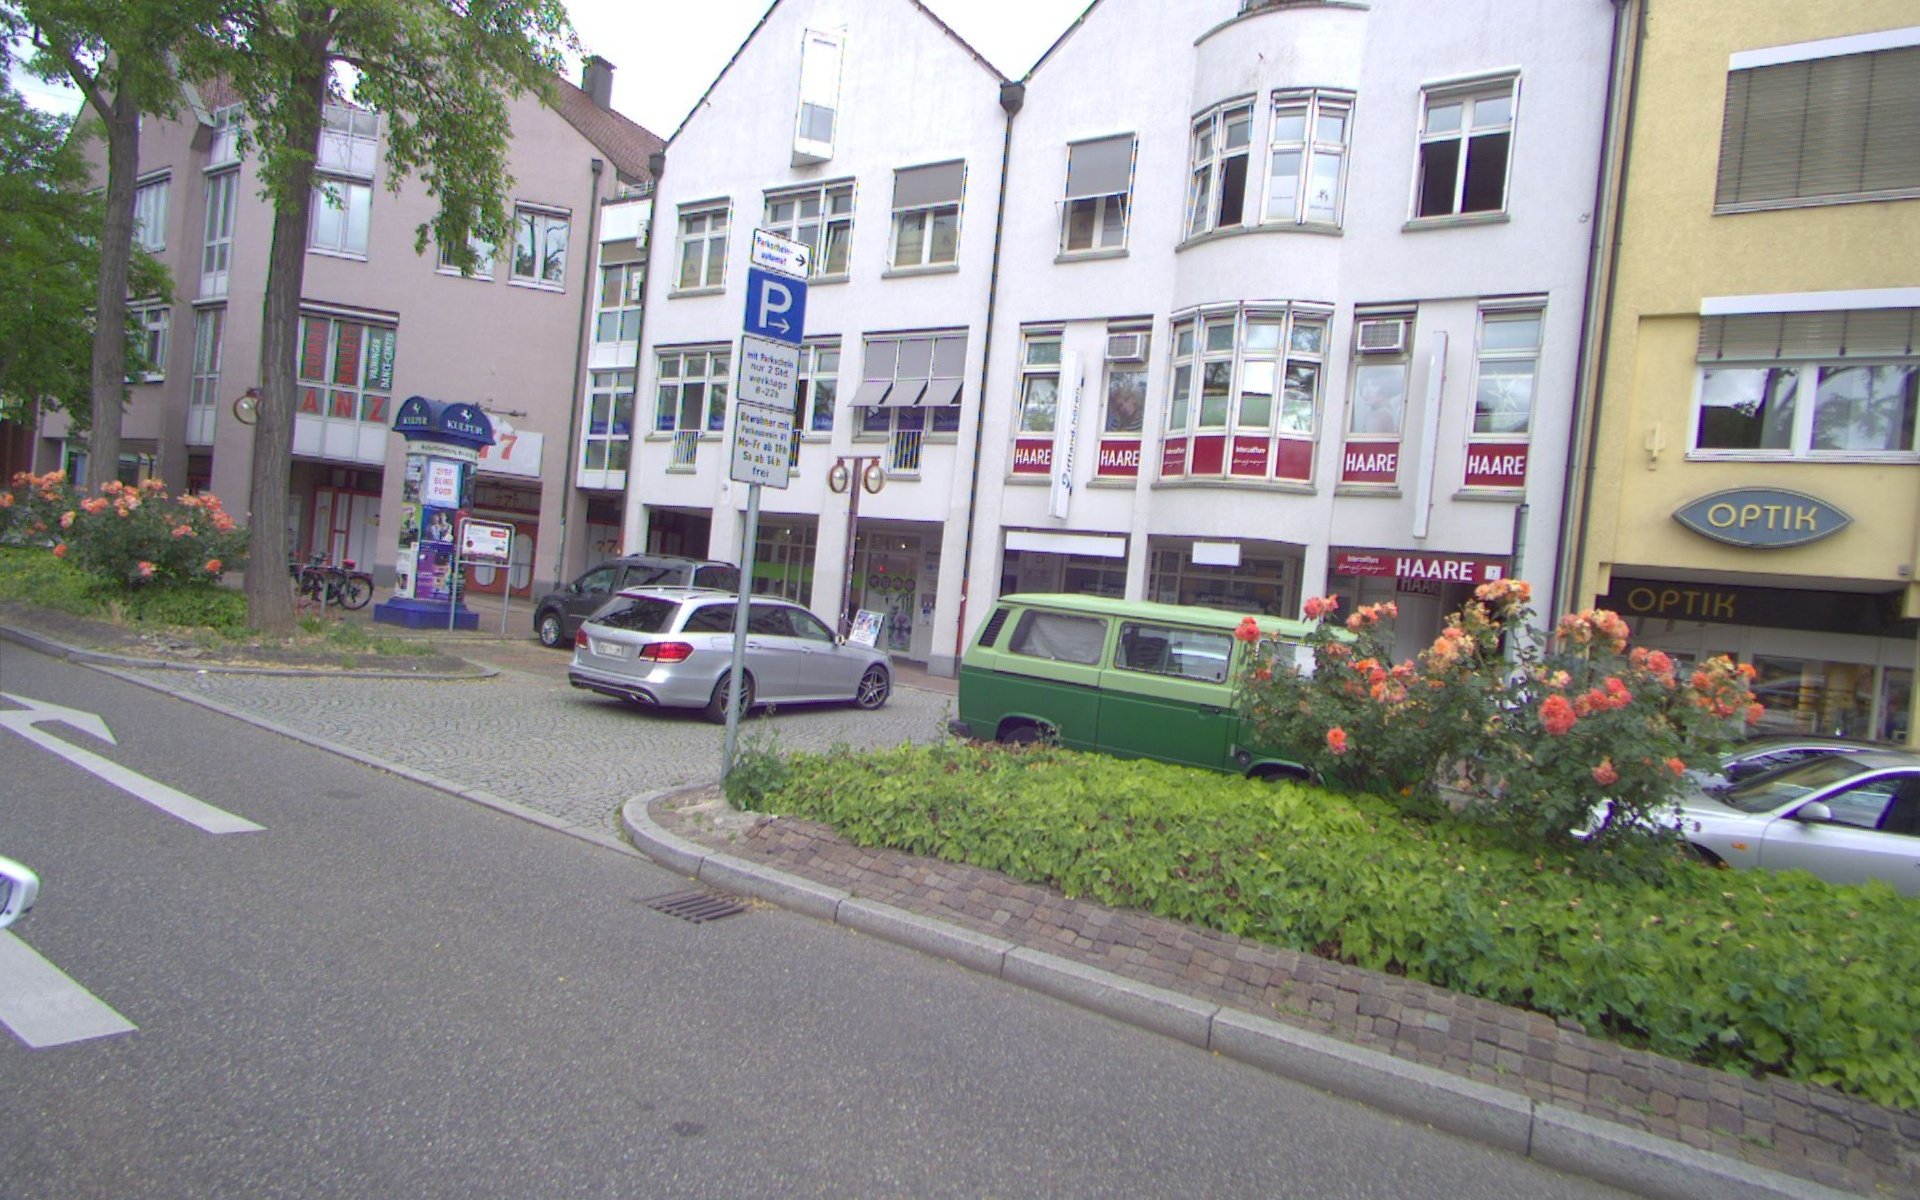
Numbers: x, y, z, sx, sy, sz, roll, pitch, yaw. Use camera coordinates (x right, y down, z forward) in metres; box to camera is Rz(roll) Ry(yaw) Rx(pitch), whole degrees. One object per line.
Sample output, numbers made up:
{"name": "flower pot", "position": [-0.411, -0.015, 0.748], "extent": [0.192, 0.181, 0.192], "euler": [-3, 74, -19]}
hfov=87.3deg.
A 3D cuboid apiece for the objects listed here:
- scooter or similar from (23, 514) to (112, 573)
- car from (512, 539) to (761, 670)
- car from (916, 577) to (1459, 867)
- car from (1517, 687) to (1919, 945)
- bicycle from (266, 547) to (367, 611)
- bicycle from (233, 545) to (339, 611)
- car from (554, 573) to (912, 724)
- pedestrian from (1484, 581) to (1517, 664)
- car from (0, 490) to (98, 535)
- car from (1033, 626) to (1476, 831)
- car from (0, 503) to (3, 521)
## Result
{"name": "scooter or similar", "position": [-19.824, -1.252, 22.347], "extent": [1.852, 1.101, 0.471], "euler": [6, 1, 14]}
{"name": "car", "position": [-5.832, 0.054, 18.018], "extent": [4.188, 1.827, 1.736], "euler": [7, 1, 29]}
{"name": "car", "position": [2.148, 0.971, 9.860], "extent": [4.672, 1.900, 1.996], "euler": [6, 1, 29]}
{"name": "car", "position": [6.767, 1.622, 7.284], "extent": [4.673, 1.326, 1.840], "euler": [6, 1, 30]}
{"name": "bicycle", "position": [-12.702, -0.414, 19.896], "extent": [1.545, 1.061, 0.405], "euler": [7, 1, -17]}
{"name": "bicycle", "position": [-12.860, -0.412, 19.226], "extent": [1.545, 1.061, 0.405], "euler": [7, 1, -17]}
{"name": "car", "position": [-2.685, 0.633, 13.089], "extent": [1.711, 1.472, 4.642], "euler": [7, 0, 31]}
{"name": "pedestrian", "position": [10.974, 0.465, 20.443], "extent": [0.416, 1.631, 0.556], "euler": [7, 1, 27]}
{"name": "car", "position": [-40.630, -3.895, 43.863], "extent": [1.770, 1.421, 4.182], "euler": [7, -1, 29]}
{"name": "car", "position": [3.473, 1.364, 12.057], "extent": [4.672, 1.567, 1.996], "euler": [6, 1, 28]}
{"name": "car", "position": [-11.100, -0.454, 9.780], "extent": [3.582, 1.465, 1.630], "euler": [7, -2, 32]}
